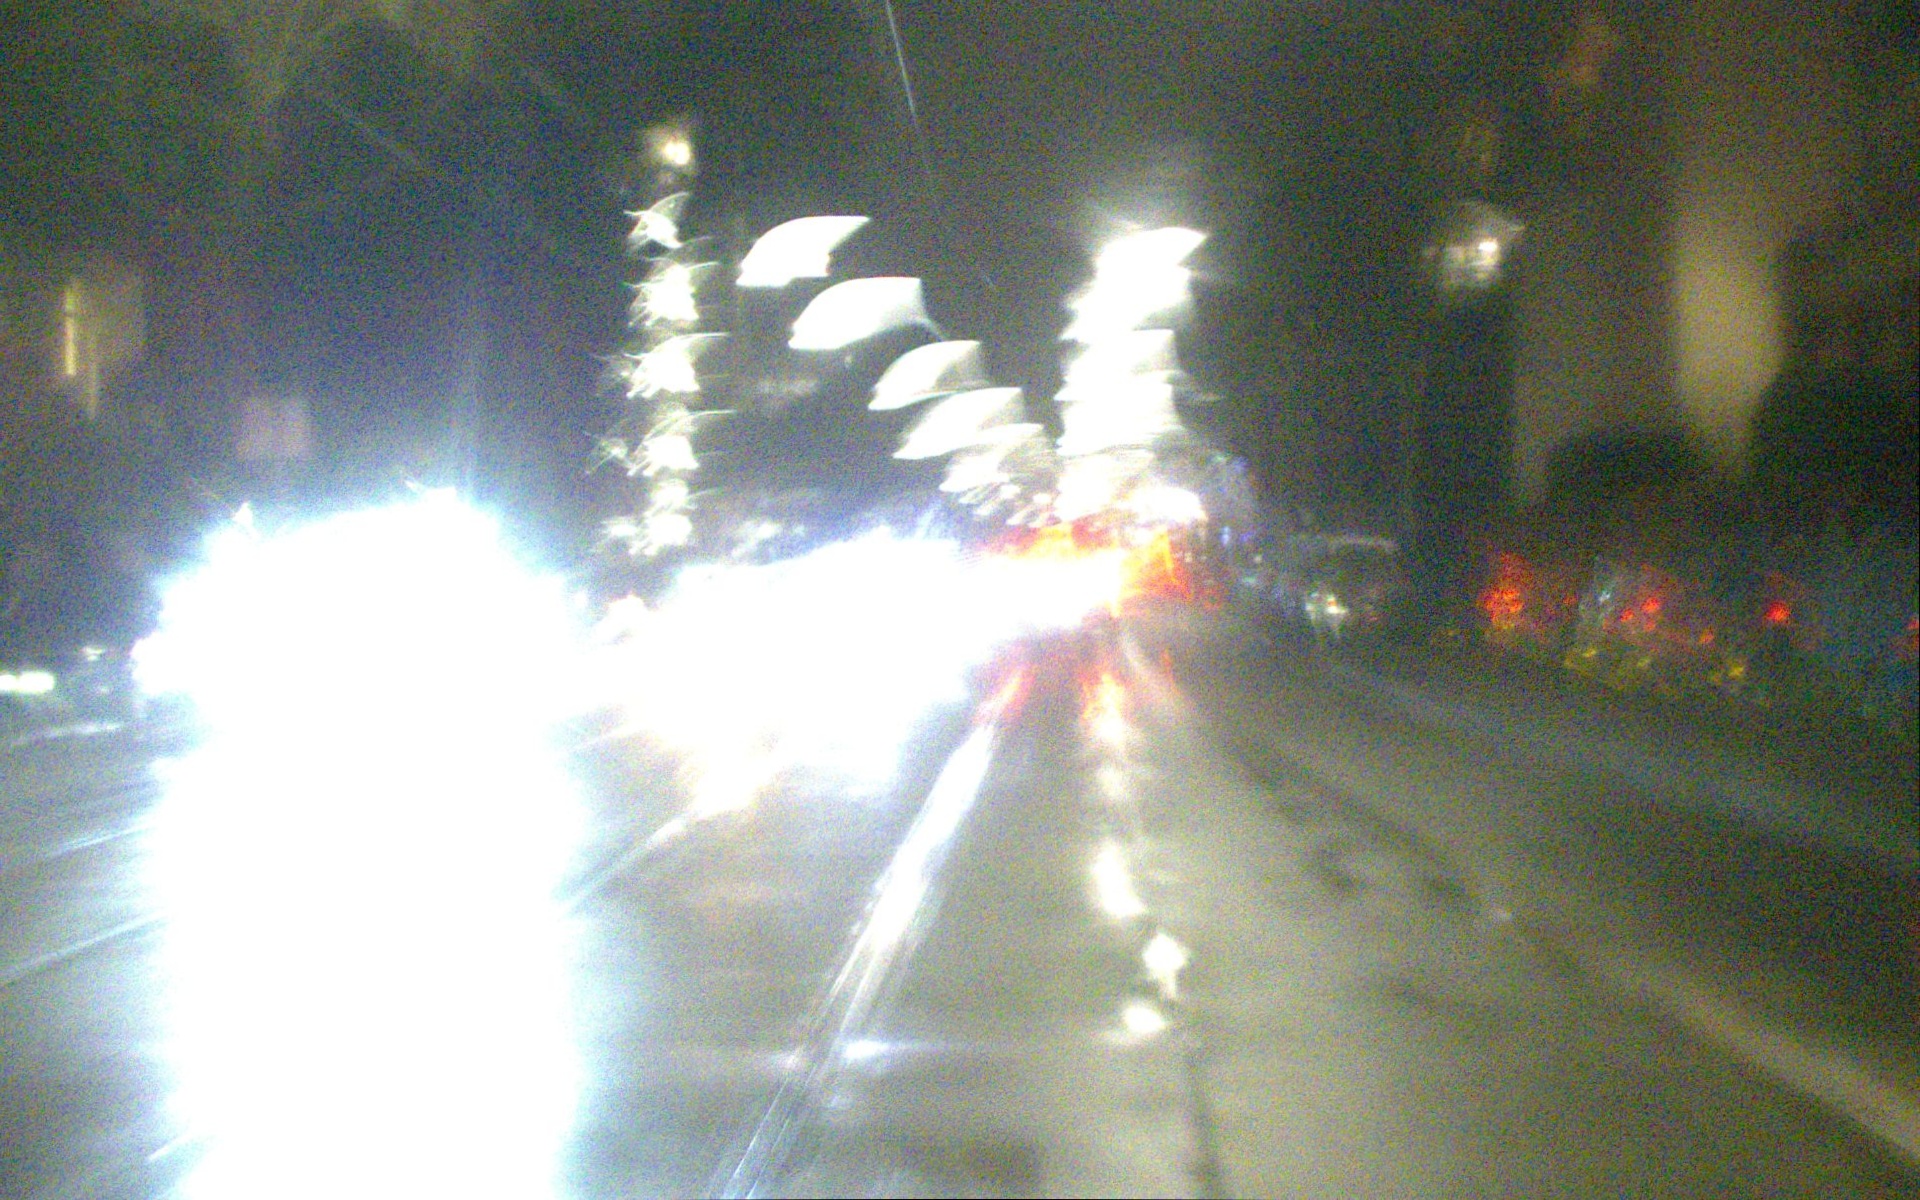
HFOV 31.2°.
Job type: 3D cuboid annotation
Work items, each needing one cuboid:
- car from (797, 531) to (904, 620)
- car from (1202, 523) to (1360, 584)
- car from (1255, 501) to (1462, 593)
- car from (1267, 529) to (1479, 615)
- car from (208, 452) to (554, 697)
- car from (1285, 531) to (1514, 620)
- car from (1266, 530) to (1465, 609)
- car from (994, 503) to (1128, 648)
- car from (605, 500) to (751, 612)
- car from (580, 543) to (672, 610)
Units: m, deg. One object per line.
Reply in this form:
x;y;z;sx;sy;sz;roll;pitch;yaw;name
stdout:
-2.386;-0.565;75.823;1.939;1.809;4.385;-2;1;3;car
8.306;-1.196;88.879;3.877;1.528;1.821;0;1;-39;car
8.428;-1.114;72.544;4.161;1.833;1.962;1;2;-39;car
7.428;-0.516;61.694;1.806;1.483;3.846;0;1;44;car
-4.867;-0.263;29.573;1.926;1.873;4.637;-2;1;3;car
7.524;-0.415;58.695;3.779;1.453;1.769;0;1;-40;car
7.679;-0.567;64.989;3.824;1.433;1.599;0;1;-42;car
1.728;-0.459;60.660;2.217;2.433;5.384;0;1;0;car
-3.999;-0.651;49.269;1.651;1.474;4.206;-2;1;1;car
-7.309;-0.521;75.510;1.609;1.423;3.808;1;1;0;car
